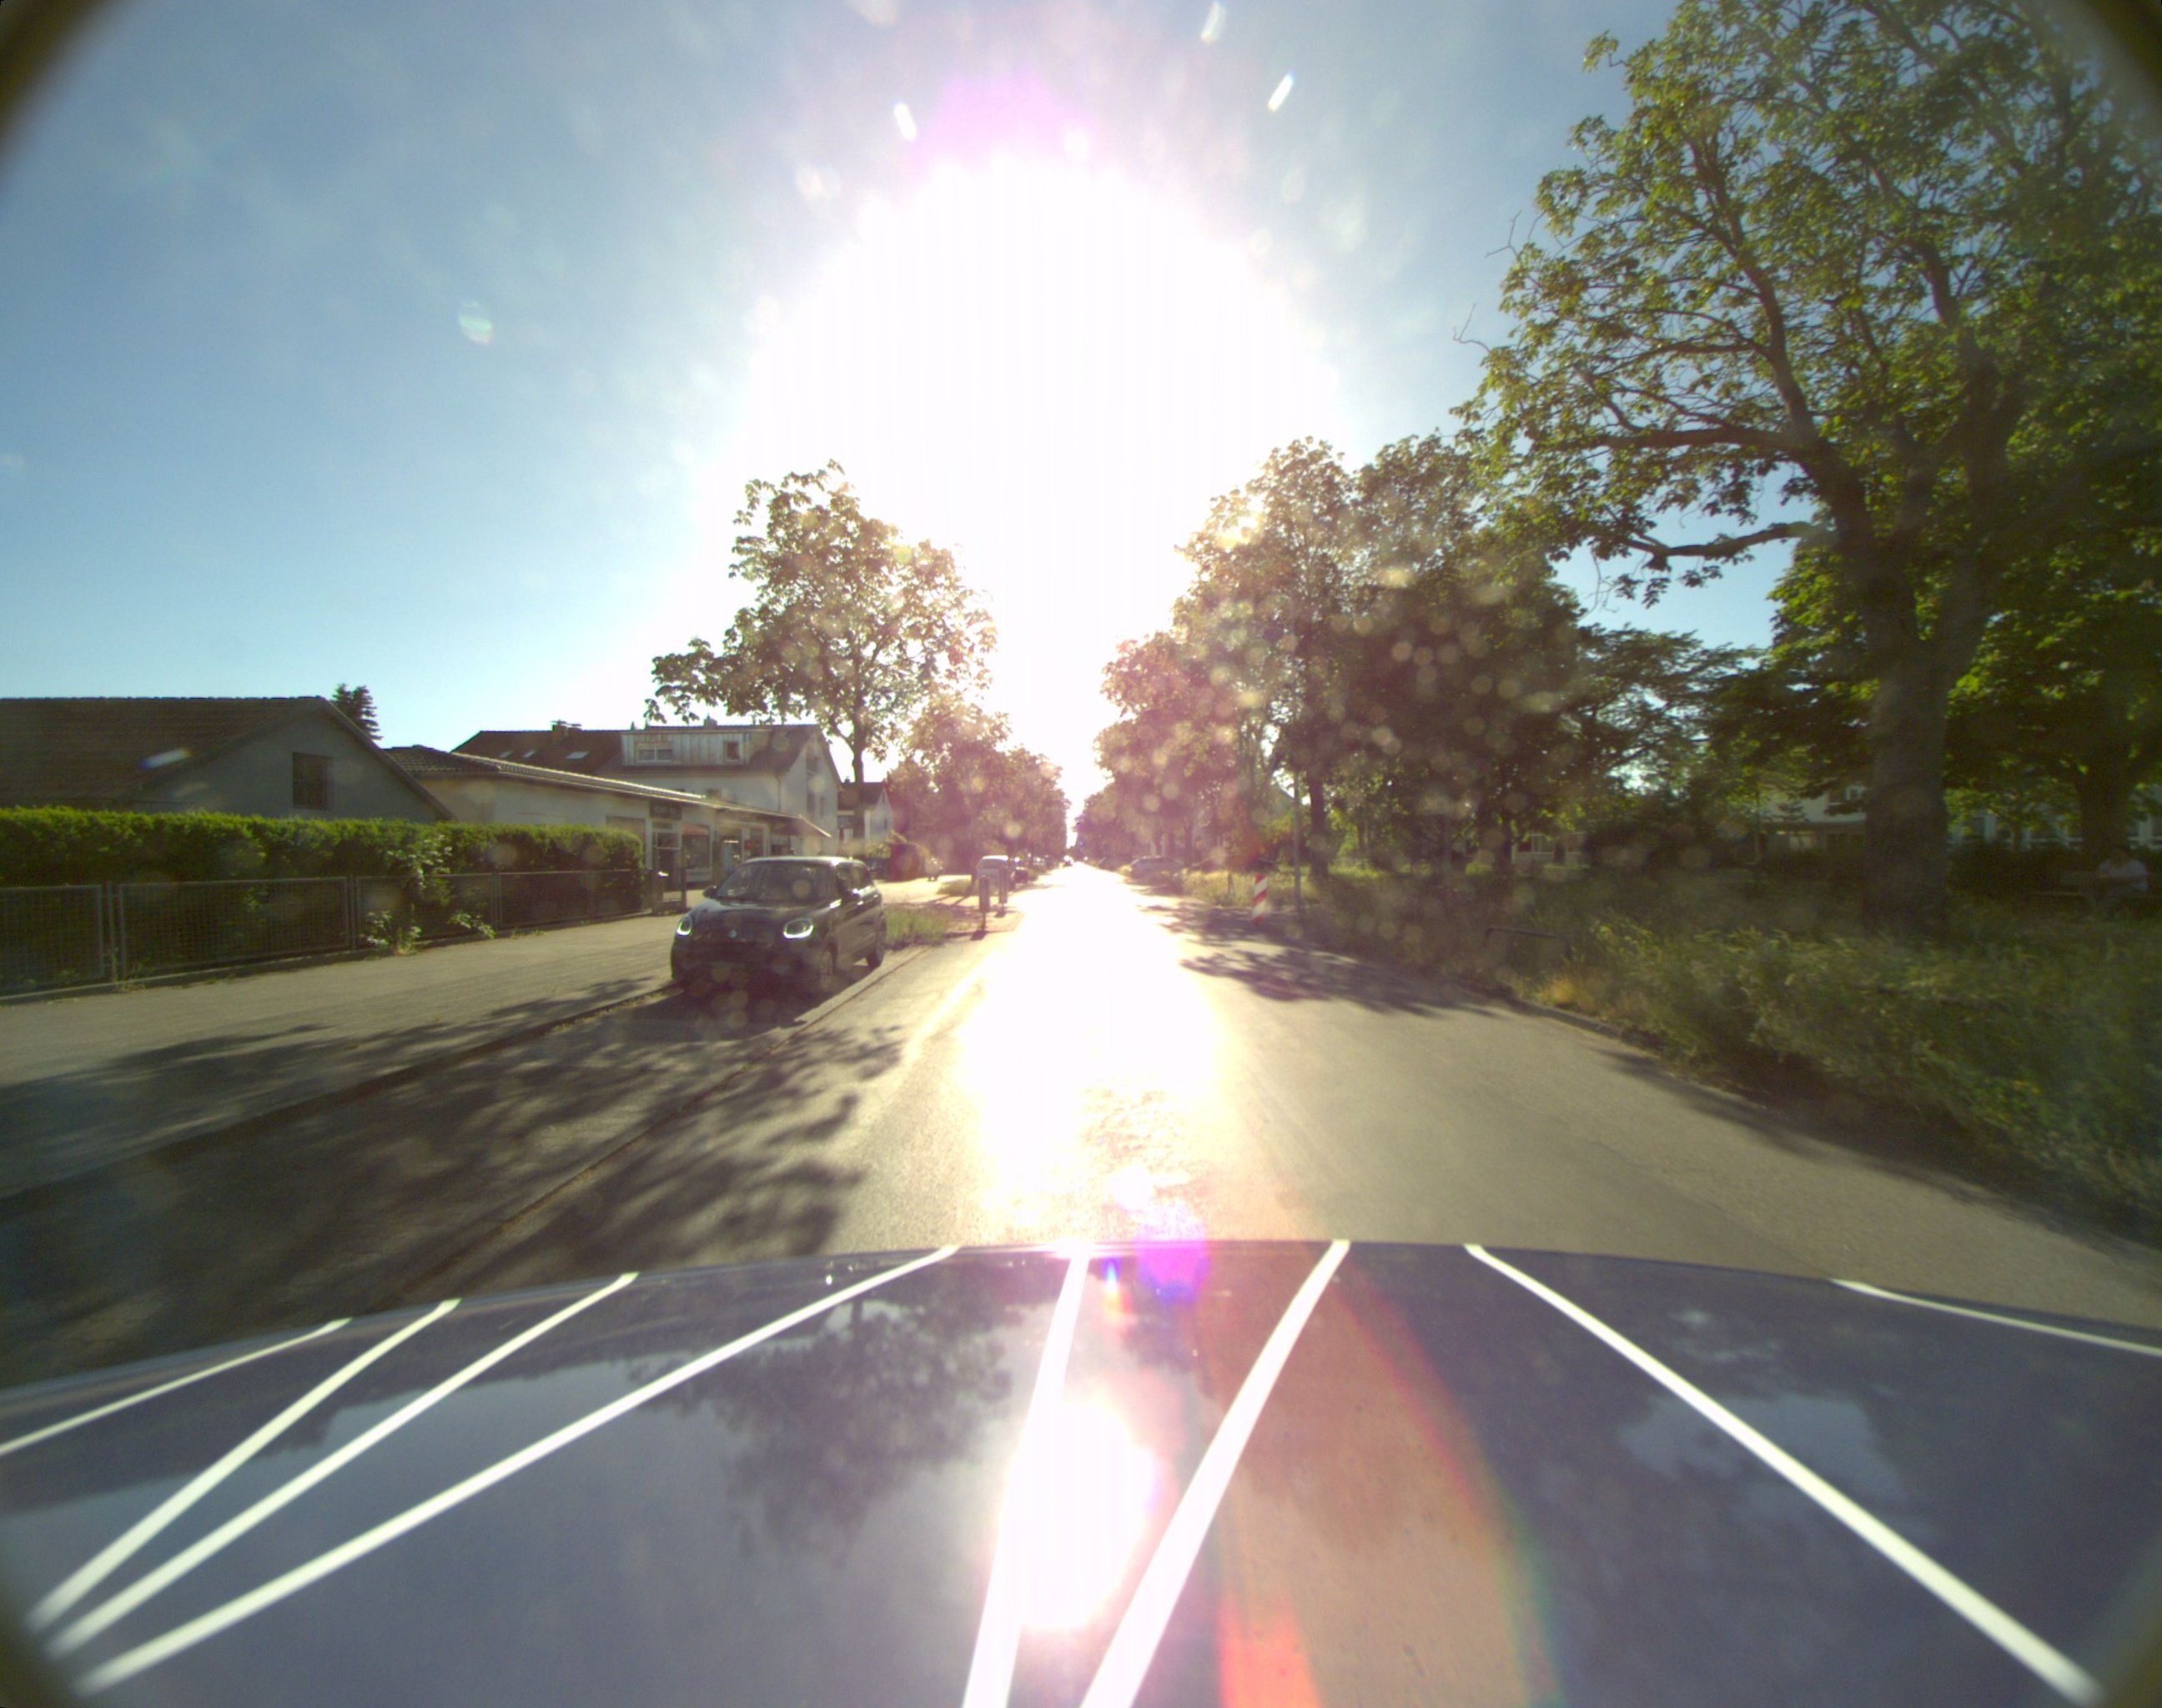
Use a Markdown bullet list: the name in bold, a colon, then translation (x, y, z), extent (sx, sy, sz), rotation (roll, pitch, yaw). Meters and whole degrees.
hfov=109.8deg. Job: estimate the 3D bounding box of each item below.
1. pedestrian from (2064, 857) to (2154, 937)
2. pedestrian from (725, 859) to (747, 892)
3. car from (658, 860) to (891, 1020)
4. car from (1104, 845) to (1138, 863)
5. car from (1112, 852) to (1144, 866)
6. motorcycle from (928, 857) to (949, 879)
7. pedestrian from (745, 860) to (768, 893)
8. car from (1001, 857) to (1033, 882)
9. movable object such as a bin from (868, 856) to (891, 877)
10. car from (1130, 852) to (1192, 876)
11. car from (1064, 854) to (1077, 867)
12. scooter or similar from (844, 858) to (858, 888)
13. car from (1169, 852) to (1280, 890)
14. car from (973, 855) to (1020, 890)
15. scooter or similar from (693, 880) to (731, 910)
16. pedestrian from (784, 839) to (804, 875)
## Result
- **pedestrian**: translation (15.617, 0.641, 11.556), extent (0.639, 1.151, 0.521), rotation (-4, 1, -2)
- **pedestrian**: translation (-13.984, 0.878, 30.795), extent (0.641, 1.314, 0.574), rotation (0, 1, 0)
- **car**: translation (-3.593, 0.904, 9.602), extent (1.497, 1.565, 3.600), rotation (2, 0, -1)
- **car**: translation (6.147, -0.001, 117.458), extent (5.122, 2.597, 2.125), rotation (-2, 1, 2)
- **car**: translation (6.256, 0.611, 100.987), extent (3.998, 1.740, 1.890), rotation (-2, 1, -2)
- **motorcycle**: translation (-8.547, 0.821, 45.789), extent (0.838, 1.247, 2.344), rotation (-2, 1, -2)
- **pedestrian**: translation (-13.118, 0.912, 30.701), extent (0.641, 1.314, 0.574), rotation (-1, 1, 0)
- **car**: translation (-3.950, 0.938, 47.121), extent (1.733, 1.473, 3.857), rotation (0, 0, -1)
- **movable object such as a bin**: translation (-12.396, 0.767, 46.766), extent (1.172, 1.286, 0.928), rotation (1, 1, -2)
- **car**: translation (5.736, 0.716, 54.669), extent (4.204, 1.552, 2.000), rotation (-2, 0, 0)
- **car**: translation (-1.758, 1.068, 126.440), extent (1.999, 2.002, 3.999), rotation (-2, 1, 0)
- **scooter or similar**: translation (-10.163, 0.839, 33.640), extent (0.503, 1.288, 0.461), rotation (1, 1, -4)
- **car**: translation (6.480, 0.729, 34.686), extent (4.616, 1.552, 2.000), rotation (-2, 0, 0)
- **car**: translation (-4.040, 0.844, 36.814), extent (1.732, 1.568, 3.858), rotation (0, 0, 2)
- **scooter or similar**: translation (-10.106, 1.112, 20.845), extent (0.450, 0.712, 1.228), rotation (3, 1, -2)
- **pedestrian**: translation (-14.444, 0.132, 38.251), extent (0.672, 1.798, 0.735), rotation (-2, 1, 0)
